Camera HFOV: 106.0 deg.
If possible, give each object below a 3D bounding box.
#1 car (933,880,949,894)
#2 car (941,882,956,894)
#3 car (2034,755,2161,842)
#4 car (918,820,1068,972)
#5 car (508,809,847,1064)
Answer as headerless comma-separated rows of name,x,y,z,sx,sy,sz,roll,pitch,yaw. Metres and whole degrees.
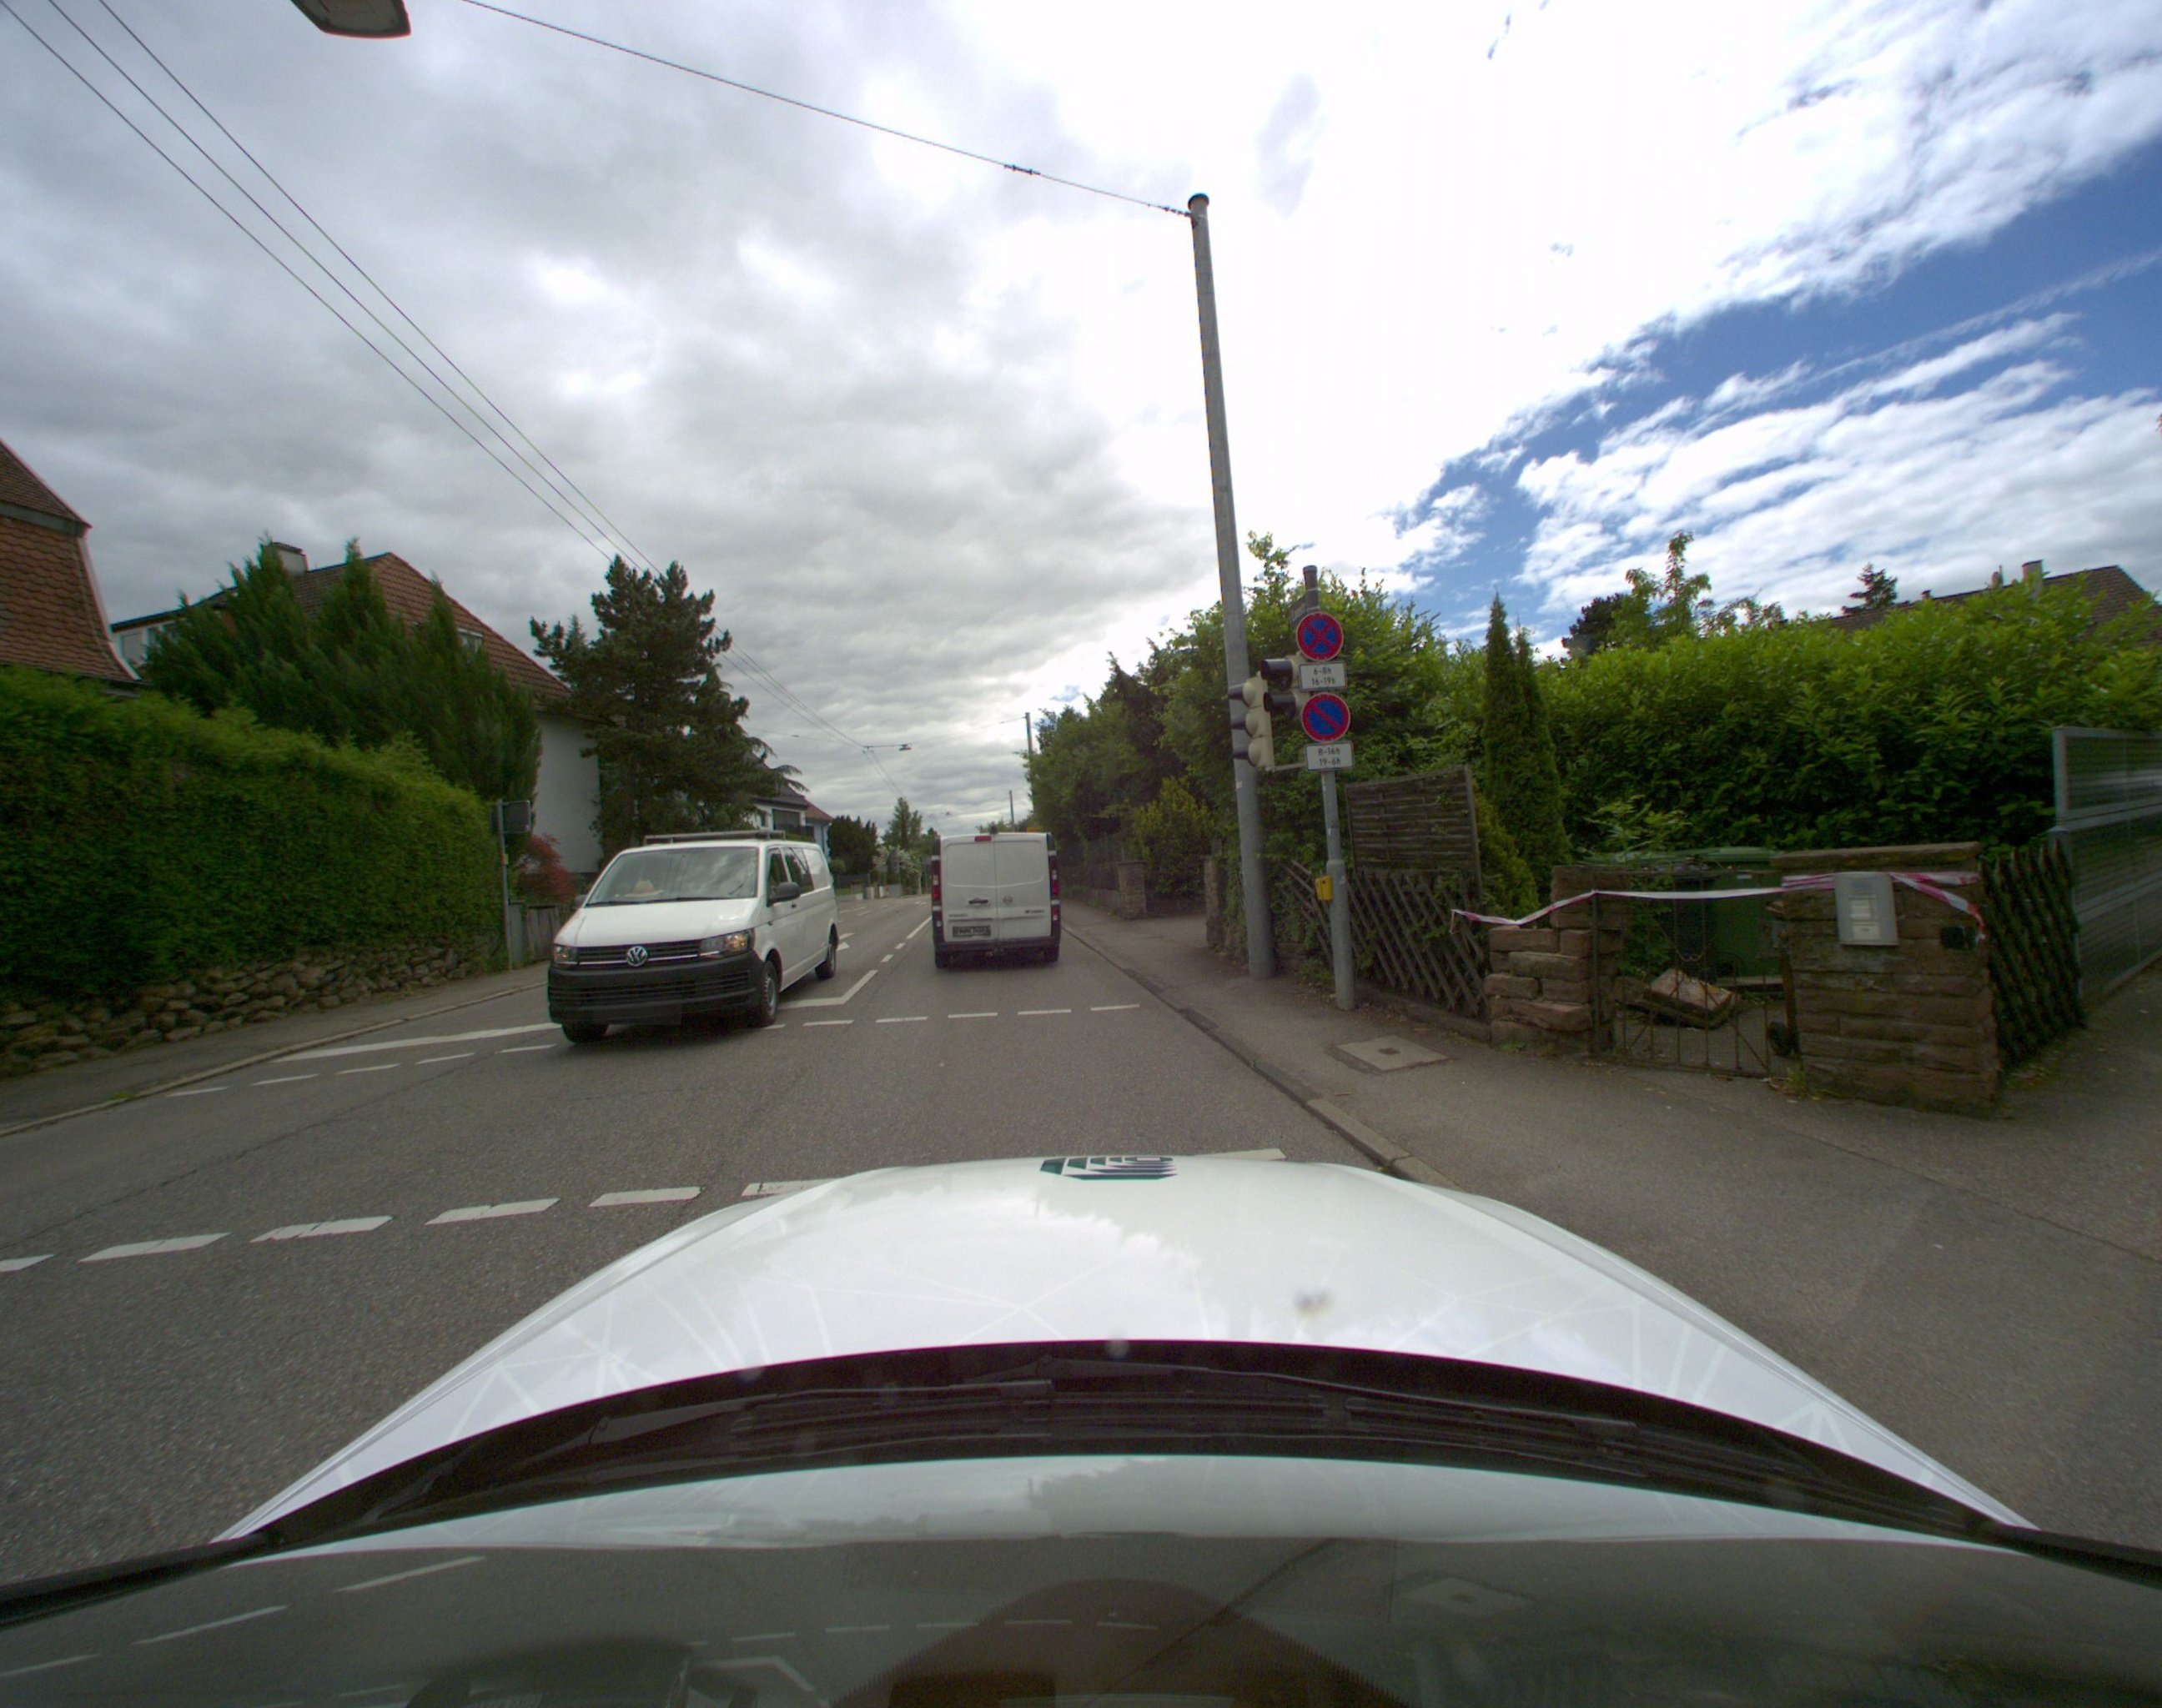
car,-17.930,4.228,104.446,1.808,1.455,4.401,-6,-1,-8
car,-19.357,4.923,119.068,1.677,1.556,3.962,-6,-2,-7
car,25.155,-1.302,19.822,1.579,1.511,3.621,-8,-9,35
car,-1.509,0.613,13.760,2.004,2.038,4.997,-2,-1,-7
car,-4.197,0.730,9.606,1.857,2.048,5.158,-4,0,-7
